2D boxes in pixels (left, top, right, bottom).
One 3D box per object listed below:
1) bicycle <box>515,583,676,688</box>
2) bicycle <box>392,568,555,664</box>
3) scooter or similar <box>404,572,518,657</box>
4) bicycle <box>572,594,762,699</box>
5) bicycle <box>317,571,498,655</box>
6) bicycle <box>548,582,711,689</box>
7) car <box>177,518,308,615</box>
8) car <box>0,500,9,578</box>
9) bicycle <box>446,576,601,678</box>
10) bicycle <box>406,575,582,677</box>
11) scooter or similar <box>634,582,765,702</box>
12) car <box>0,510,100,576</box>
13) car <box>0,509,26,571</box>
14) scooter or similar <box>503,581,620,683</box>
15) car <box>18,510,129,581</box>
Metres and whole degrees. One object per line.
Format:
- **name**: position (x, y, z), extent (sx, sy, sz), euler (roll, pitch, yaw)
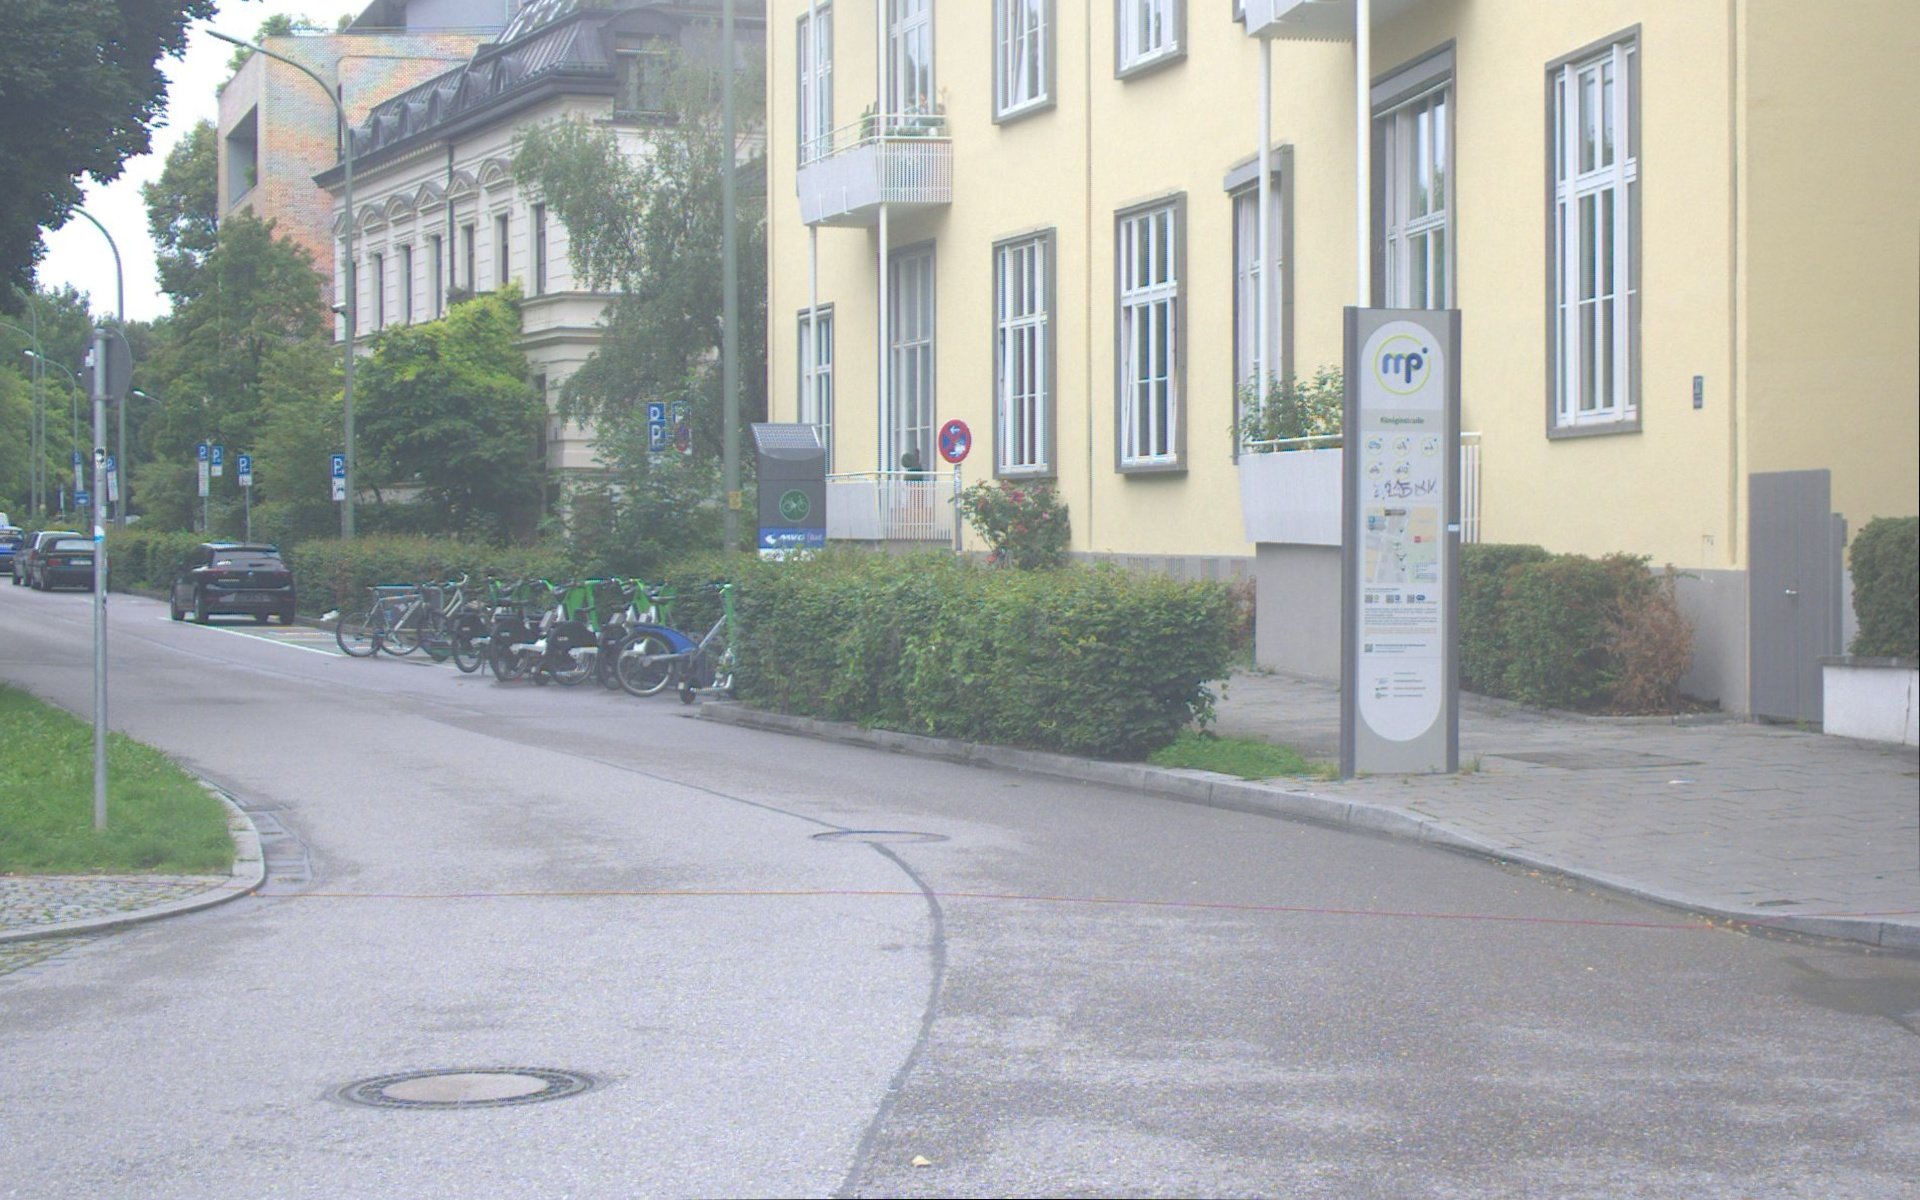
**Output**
- **bicycle**: position (-3.997, 0.378, 37.832), extent (0.577, 1.082, 1.929), euler (0, 1, 37)
- **bicycle**: position (-5.823, 0.178, 41.272), extent (0.764, 1.082, 2.138), euler (0, 1, 30)
- **scooter or similar**: position (-6.589, 0.189, 45.451), extent (1.405, 1.084, 0.597), euler (-1, 1, -2)
- **bicycle**: position (-2.976, 0.466, 34.930), extent (1.822, 1.002, 0.578), euler (-2, 1, -22)
- **bicycle**: position (-7.591, 0.172, 47.261), extent (2.331, 1.082, 0.693), euler (-2, 1, -25)
- **bicycle**: position (-3.566, 0.369, 37.214), extent (0.577, 1.082, 1.929), euler (0, 1, 37)
- **car**: position (-12.902, -0.615, 61.665), extent (1.863, 1.628, 4.285), euler (-2, 1, -17)
- **car**: position (-32.680, -2.007, 113.881), extent (1.875, 2.559, 4.933), euler (-1, 1, -20)
- **bicycle**: position (-4.892, 0.292, 38.644), extent (0.638, 1.082, 1.982), euler (0, 1, 30)
- **bicycle**: position (-5.324, 0.285, 39.430), extent (0.697, 1.082, 2.335), euler (0, 1, 30)
- **scooter or similar**: position (-2.535, 0.400, 33.576), extent (0.496, 1.105, 1.407), euler (0, 1, 33)
- **car**: position (-24.189, -1.495, 91.047), extent (2.176, 1.651, 4.507), euler (-2, 1, -21)
- **car**: position (-29.574, -1.803, 104.573), extent (1.875, 1.809, 4.001), euler (-2, 1, -20)
- **scooter or similar**: position (-4.425, 0.349, 38.243), extent (0.496, 1.084, 1.407), euler (0, 1, 33)
- **car**: position (-22.071, -1.349, 85.494), extent (2.176, 1.651, 4.507), euler (-2, 1, -21)
